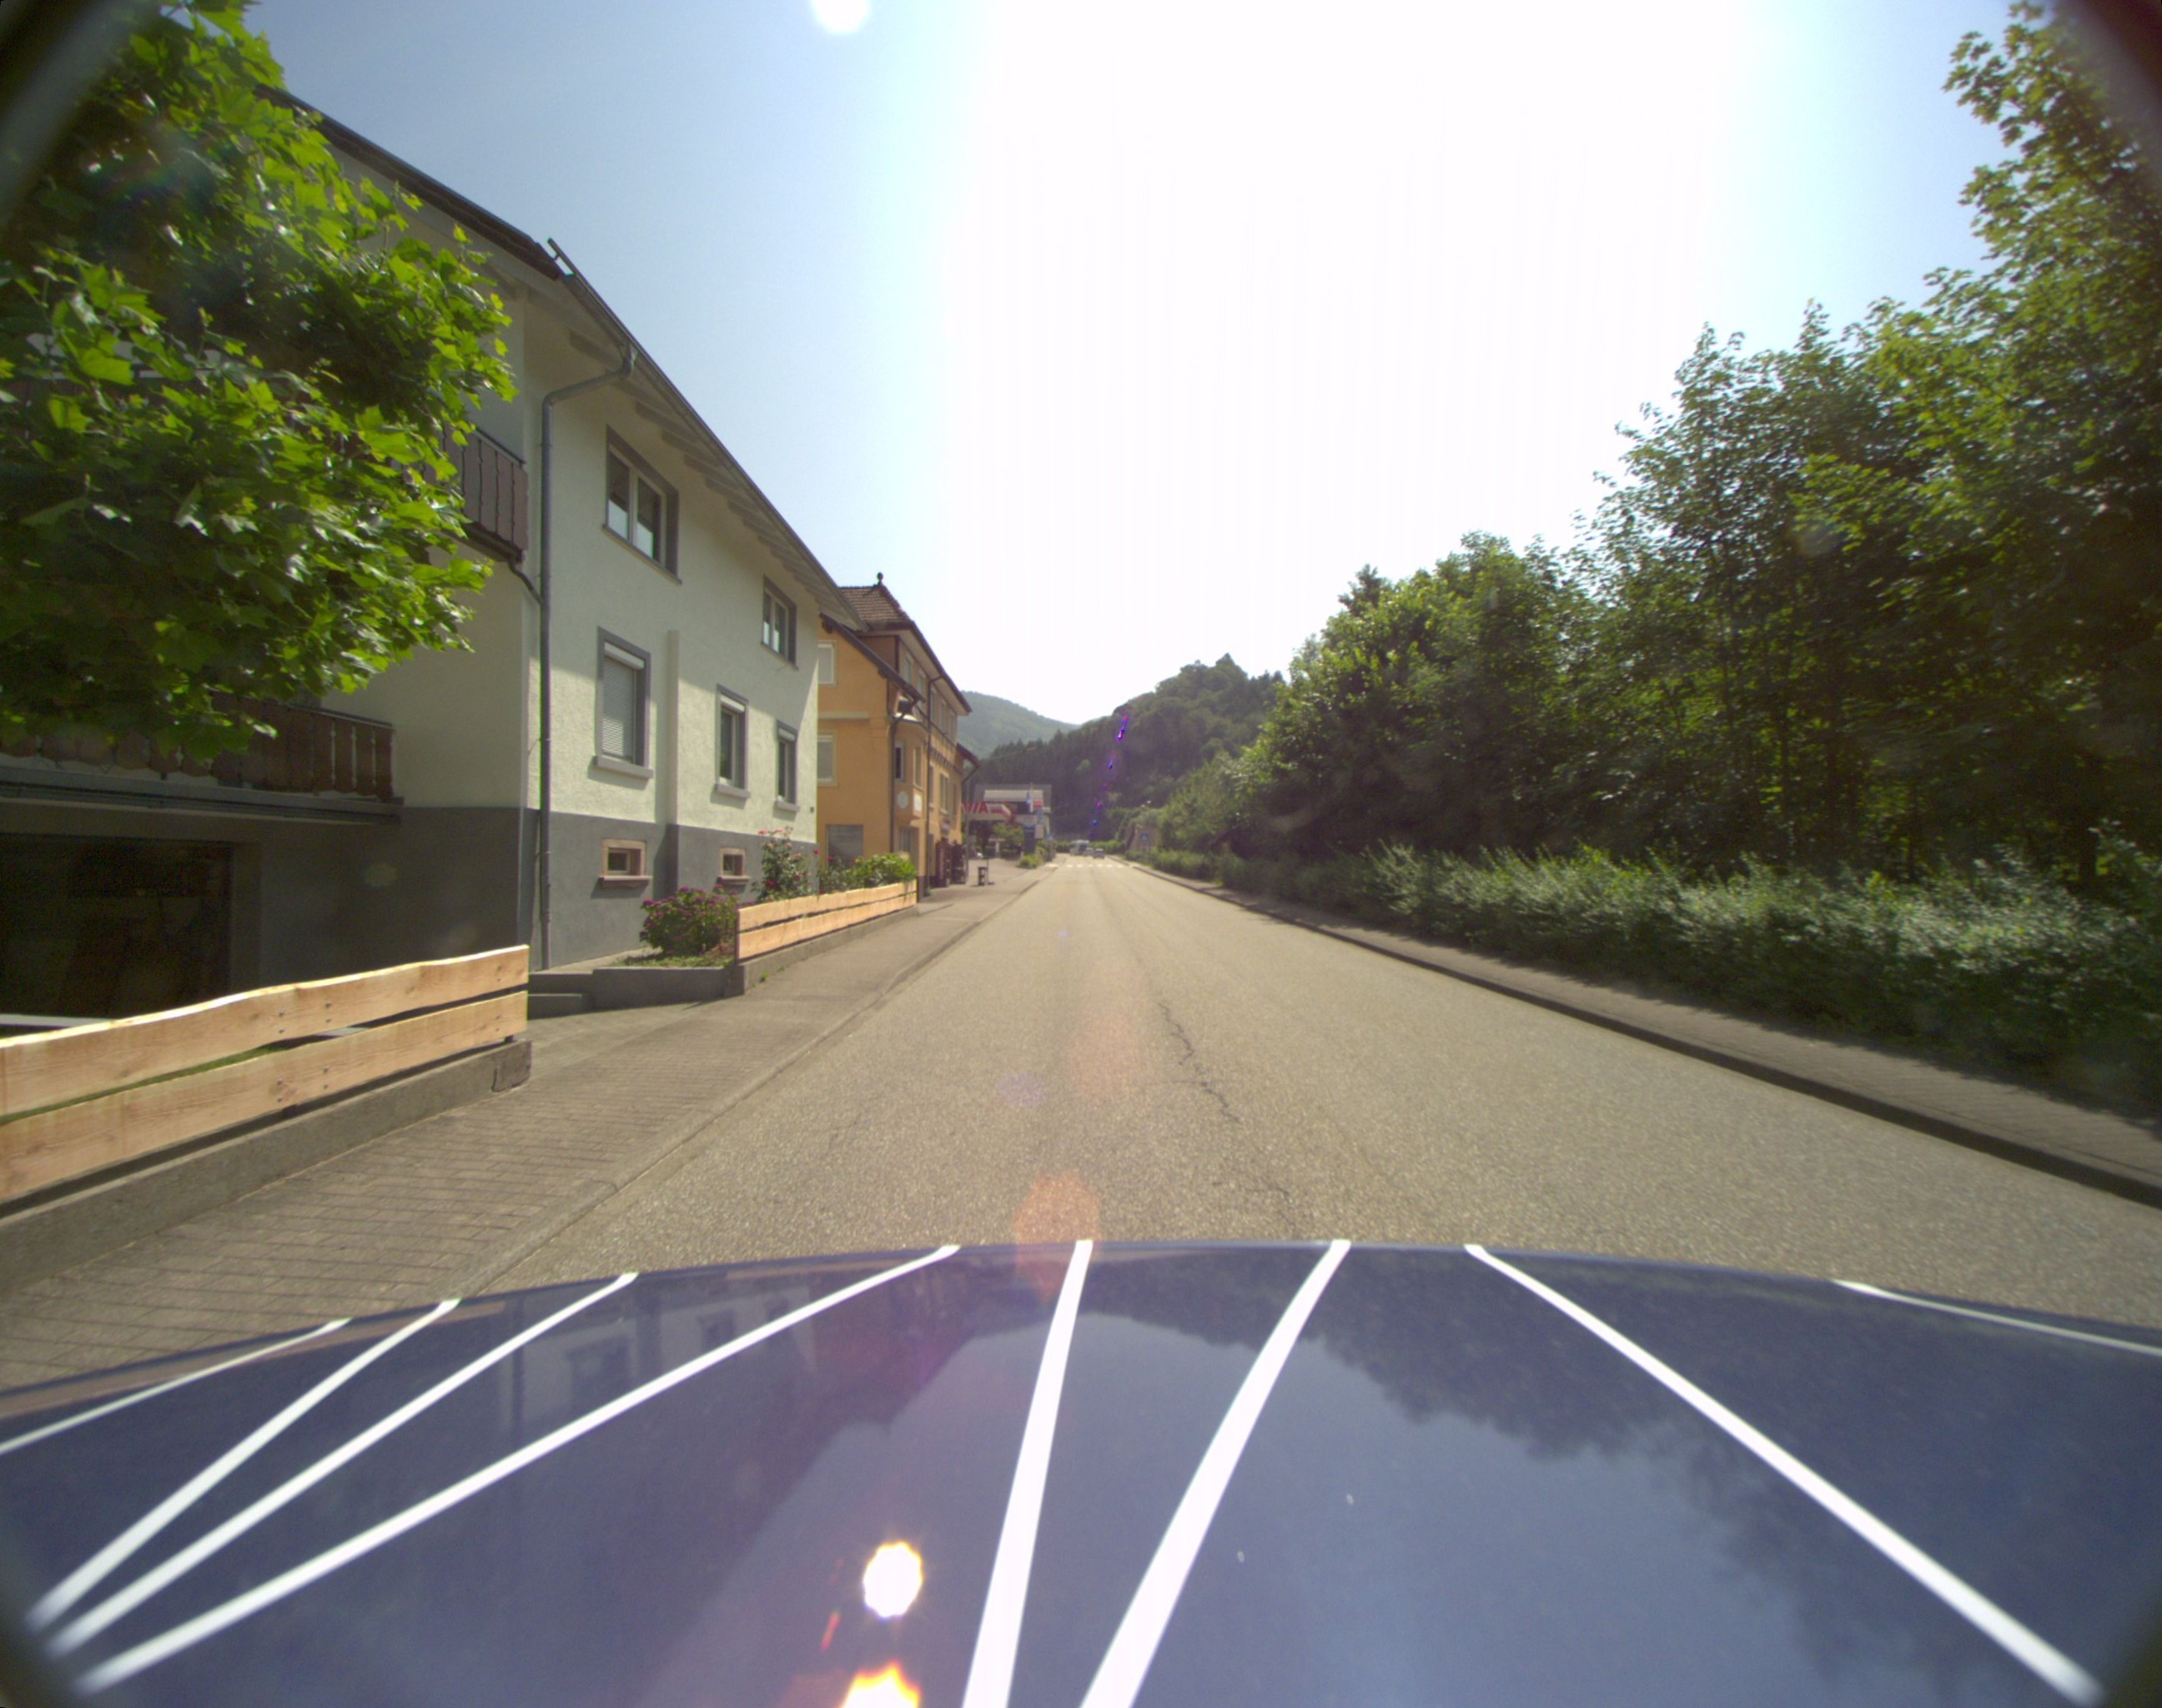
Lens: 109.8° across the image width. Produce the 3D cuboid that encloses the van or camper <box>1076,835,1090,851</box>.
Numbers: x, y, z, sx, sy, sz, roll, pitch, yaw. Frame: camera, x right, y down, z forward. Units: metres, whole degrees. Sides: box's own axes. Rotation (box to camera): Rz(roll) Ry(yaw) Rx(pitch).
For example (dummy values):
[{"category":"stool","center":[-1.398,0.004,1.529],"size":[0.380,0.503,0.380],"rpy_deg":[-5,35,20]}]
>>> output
[{"category":"van or camper","center":[0.406,-2.081,145.061],"size":[2.364,2.936,8.050],"rpy_deg":[2,1,1]}]

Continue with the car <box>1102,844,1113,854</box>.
[{"category":"car","center":[4.173,-0.725,118.345],"size":[1.594,1.474,3.757],"rpy_deg":[2,1,2]}]

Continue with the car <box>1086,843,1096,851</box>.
[{"category":"car","center":[1.672,-1.252,132.380],"size":[1.609,1.398,3.826],"rpy_deg":[3,1,0]}]

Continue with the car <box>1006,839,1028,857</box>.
[{"category":"car","center":[-6.180,-0.629,73.645],"size":[1.696,1.568,3.910],"rpy_deg":[4,1,1]}]

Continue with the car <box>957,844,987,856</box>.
[{"category":"car","center":[-11.944,-0.441,83.297],"size":[3.081,1.138,1.334],"rpy_deg":[4,2,-1]}]
